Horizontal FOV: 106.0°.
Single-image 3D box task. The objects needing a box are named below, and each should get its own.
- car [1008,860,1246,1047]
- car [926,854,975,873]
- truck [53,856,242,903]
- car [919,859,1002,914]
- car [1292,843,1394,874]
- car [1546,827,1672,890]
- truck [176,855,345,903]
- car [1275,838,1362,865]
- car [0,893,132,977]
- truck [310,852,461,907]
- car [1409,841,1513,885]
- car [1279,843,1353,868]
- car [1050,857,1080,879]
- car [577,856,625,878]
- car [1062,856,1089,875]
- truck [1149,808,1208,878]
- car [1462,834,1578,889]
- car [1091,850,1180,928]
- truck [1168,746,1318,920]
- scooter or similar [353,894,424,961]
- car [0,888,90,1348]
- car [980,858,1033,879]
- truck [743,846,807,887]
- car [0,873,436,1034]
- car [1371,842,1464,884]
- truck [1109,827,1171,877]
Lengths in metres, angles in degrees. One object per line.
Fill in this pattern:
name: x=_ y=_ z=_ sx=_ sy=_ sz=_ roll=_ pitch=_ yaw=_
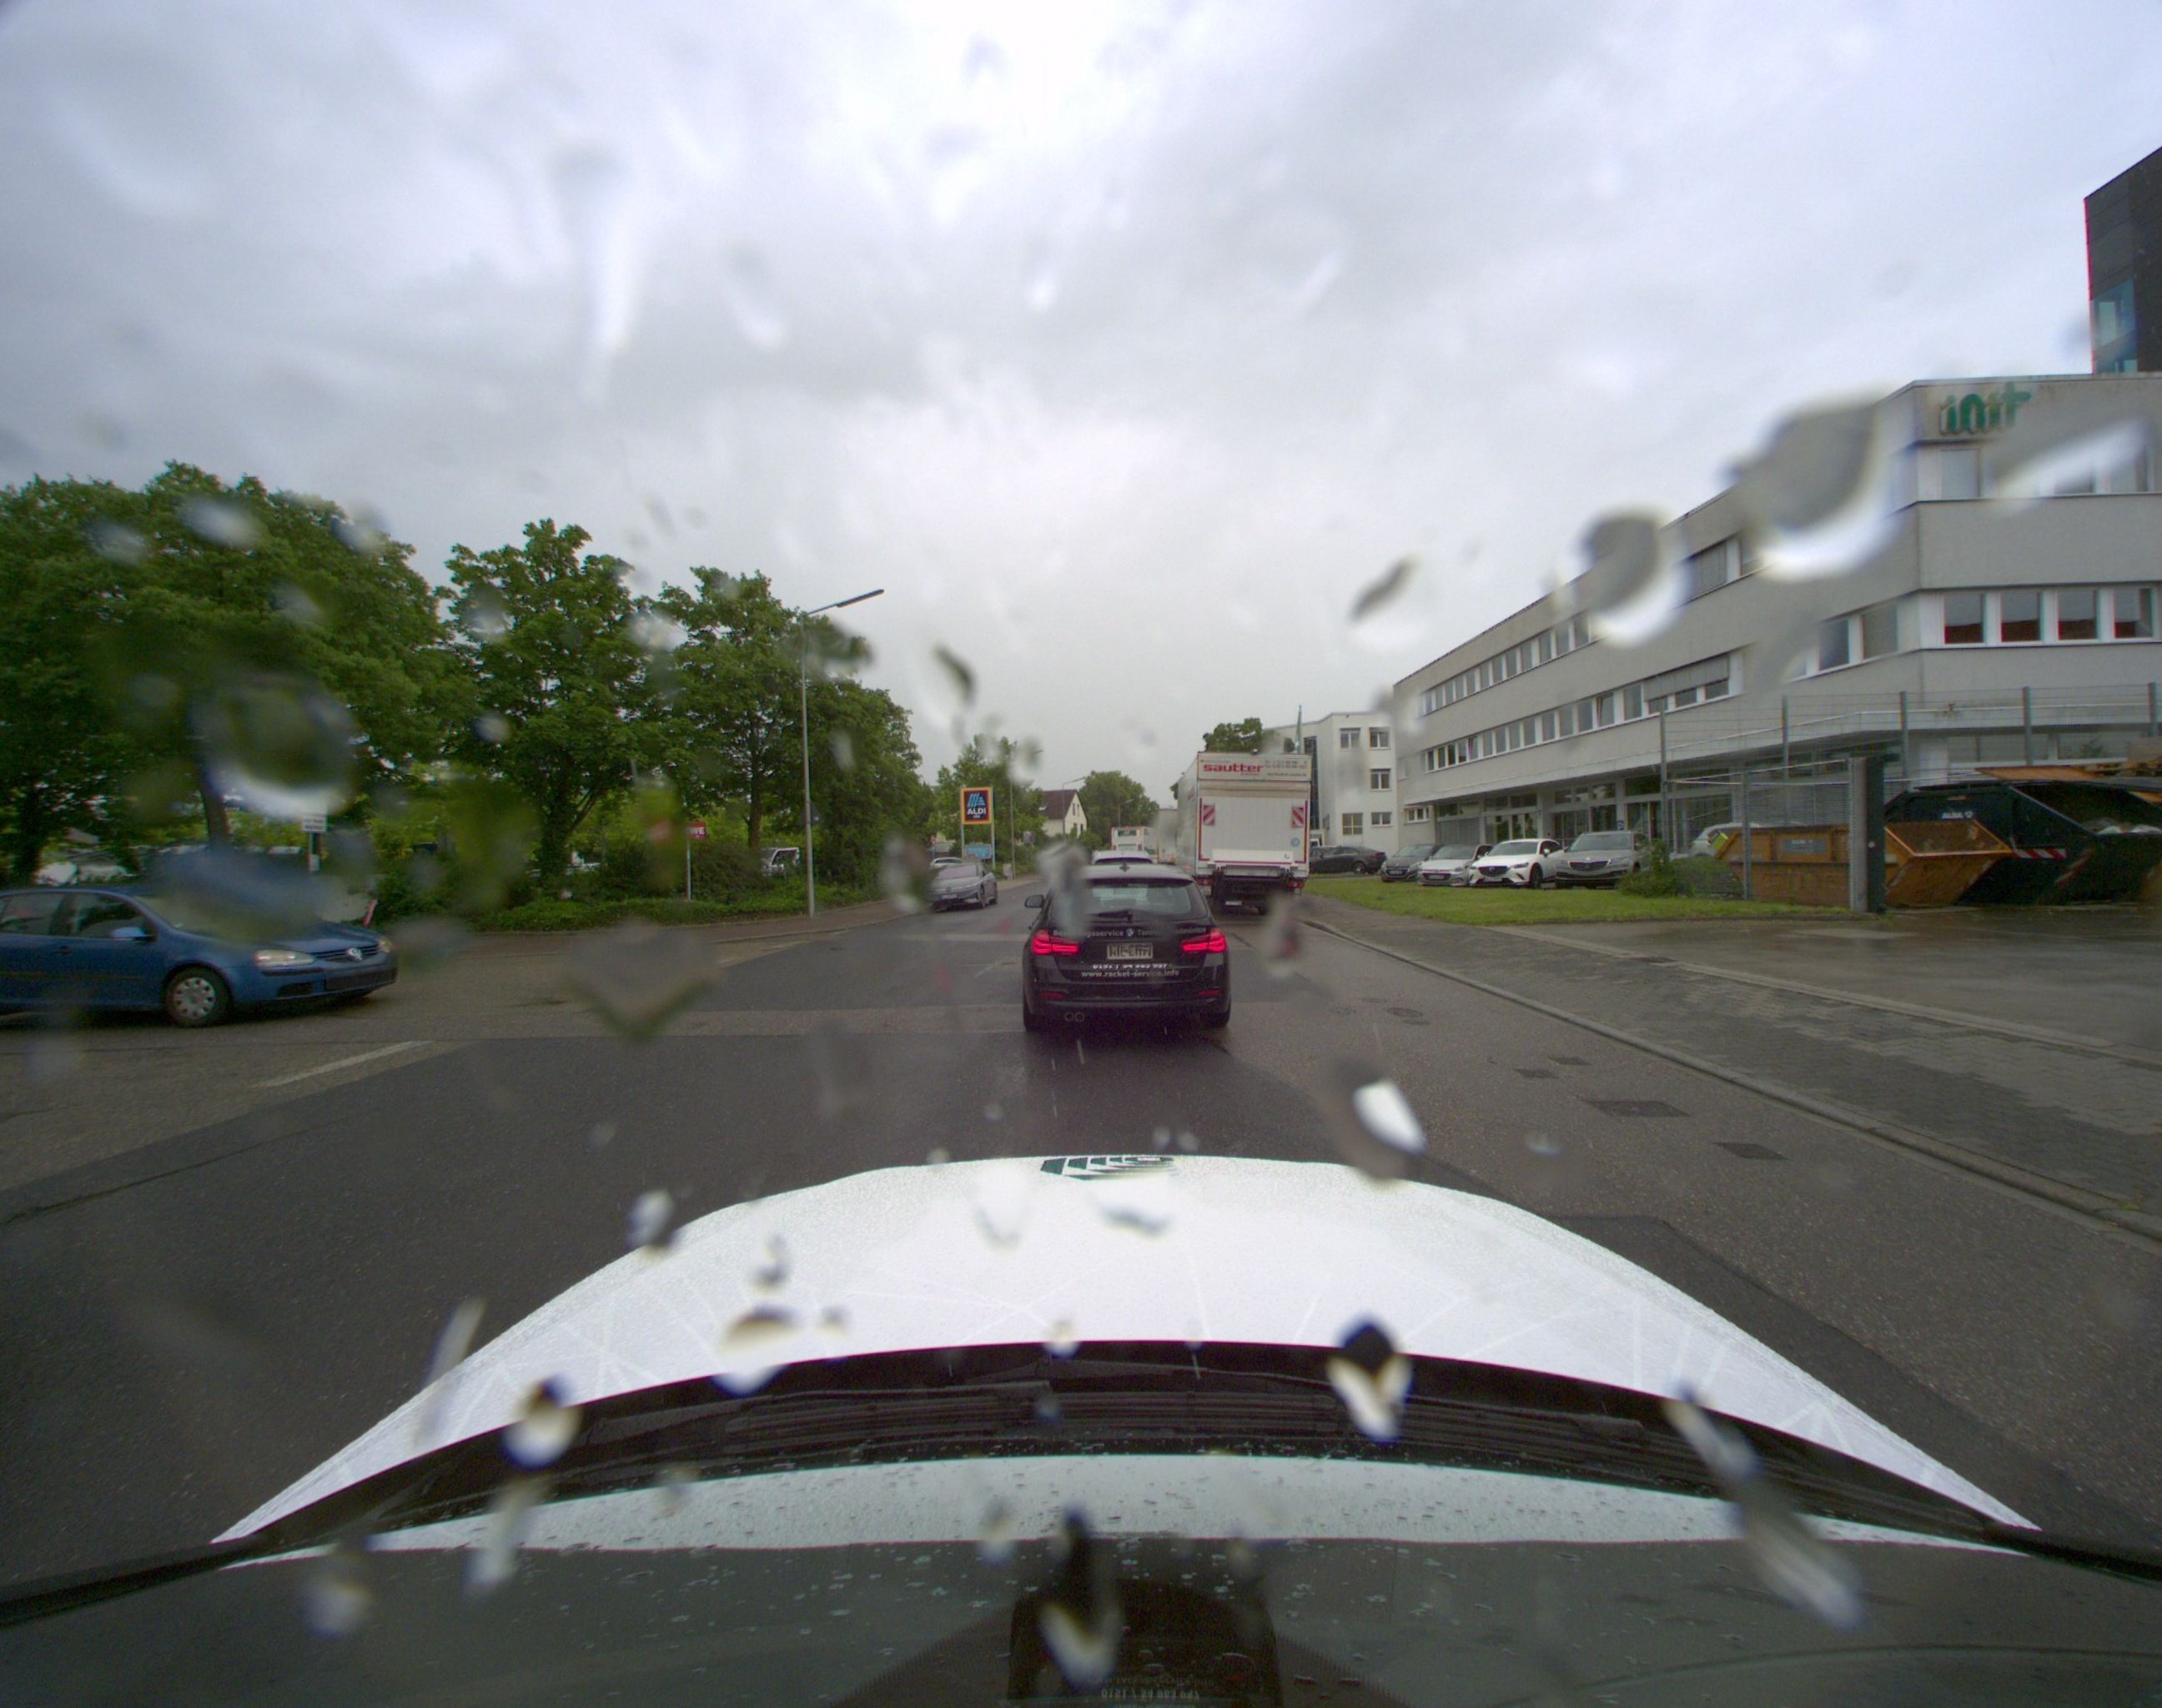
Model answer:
car: x=0.383 y=0.780 z=8.235 sx=1.798 sy=1.395 sz=4.000 roll=-1 pitch=0 yaw=1
car: x=-11.595 y=0.808 z=72.493 sx=3.970 sy=1.540 sz=1.912 roll=-2 pitch=0 yaw=3
truck: x=-44.816 y=1.152 z=39.424 sx=1.987 sy=2.060 sz=6.134 roll=-2 pitch=0 yaw=1
car: x=-3.939 y=1.012 z=27.378 sx=1.802 sy=1.528 sz=4.750 roll=-6 pitch=0 yaw=2
car: x=13.431 y=0.250 z=41.942 sx=4.616 sy=1.468 sz=1.802 roll=-2 pitch=0 yaw=40
car: x=14.133 y=0.082 z=21.713 sx=4.022 sy=1.527 sz=1.850 roll=-2 pitch=0 yaw=-43
truck: x=-40.103 y=1.132 z=40.118 sx=1.987 sy=2.094 sz=6.134 roll=-2 pitch=0 yaw=1
car: x=18.959 y=-0.209 z=65.162 sx=6.436 sy=2.014 sz=1.998 roll=-1 pitch=-1 yaw=-2
car: x=-20.710 y=1.550 z=15.182 sx=3.972 sy=1.363 sz=1.737 roll=-3 pitch=0 yaw=1
truck: x=-35.931 y=1.221 z=42.418 sx=1.984 sy=2.601 sz=6.404 roll=-2 pitch=0 yaw=4
car: x=12.750 y=0.279 z=27.236 sx=4.022 sy=1.286 sz=1.686 roll=-2 pitch=0 yaw=-42
car: x=14.652 y=0.062 z=50.979 sx=4.098 sy=1.415 sz=1.701 roll=0 pitch=3 yaw=43
car: x=-1.126 y=1.008 z=60.391 sx=1.698 sy=1.367 sz=4.607 roll=-4 pitch=0 yaw=5
car: x=-45.533 y=1.195 z=77.278 sx=1.985 sy=2.014 sz=4.003 roll=-1 pitch=-1 yaw=3
car: x=-0.401 y=0.950 z=66.484 sx=1.697 sy=1.367 sz=3.845 roll=-4 pitch=0 yaw=6
truck: x=5.387 y=-0.563 z=46.275 sx=2.730 sy=3.611 sz=7.755 roll=1 pitch=0 yaw=2
car: x=12.970 y=0.183 z=23.964 sx=4.022 sy=1.470 sz=1.754 roll=-2 pitch=0 yaw=-42
car: x=1.160 y=0.736 z=18.872 sx=1.798 sy=1.586 sz=4.000 roll=-1 pitch=0 yaw=1
truck: x=4.063 y=-0.467 z=22.558 sx=2.730 sy=3.789 sz=9.306 roll=1 pitch=0 yaw=3
scooter or similar: x=-13.170 y=1.376 z=15.510 sx=0.282 sy=1.175 sz=1.063 roll=-2 pitch=0 yaw=10
car: x=-3.499 y=0.846 z=0.793 sx=1.740 sy=1.441 sz=3.964 roll=-3 pitch=0 yaw=-27
car: x=-5.327 y=1.046 z=58.384 sx=3.553 sy=1.460 sz=1.714 roll=0 pitch=0 yaw=4
truck: x=-22.444 y=0.891 z=60.056 sx=1.986 sy=2.753 sz=6.469 roll=-2 pitch=0 yaw=2
car: x=-9.923 y=1.051 z=9.110 sx=3.972 sy=1.441 sz=1.737 roll=-3 pitch=0 yaw=1
car: x=12.572 y=0.313 z=30.334 sx=3.789 sy=1.393 sz=1.686 roll=-2 pitch=0 yaw=-42
truck: x=4.273 y=-0.255 z=57.380 sx=2.322 sy=3.256 sz=7.789 roll=2 pitch=2 yaw=19
